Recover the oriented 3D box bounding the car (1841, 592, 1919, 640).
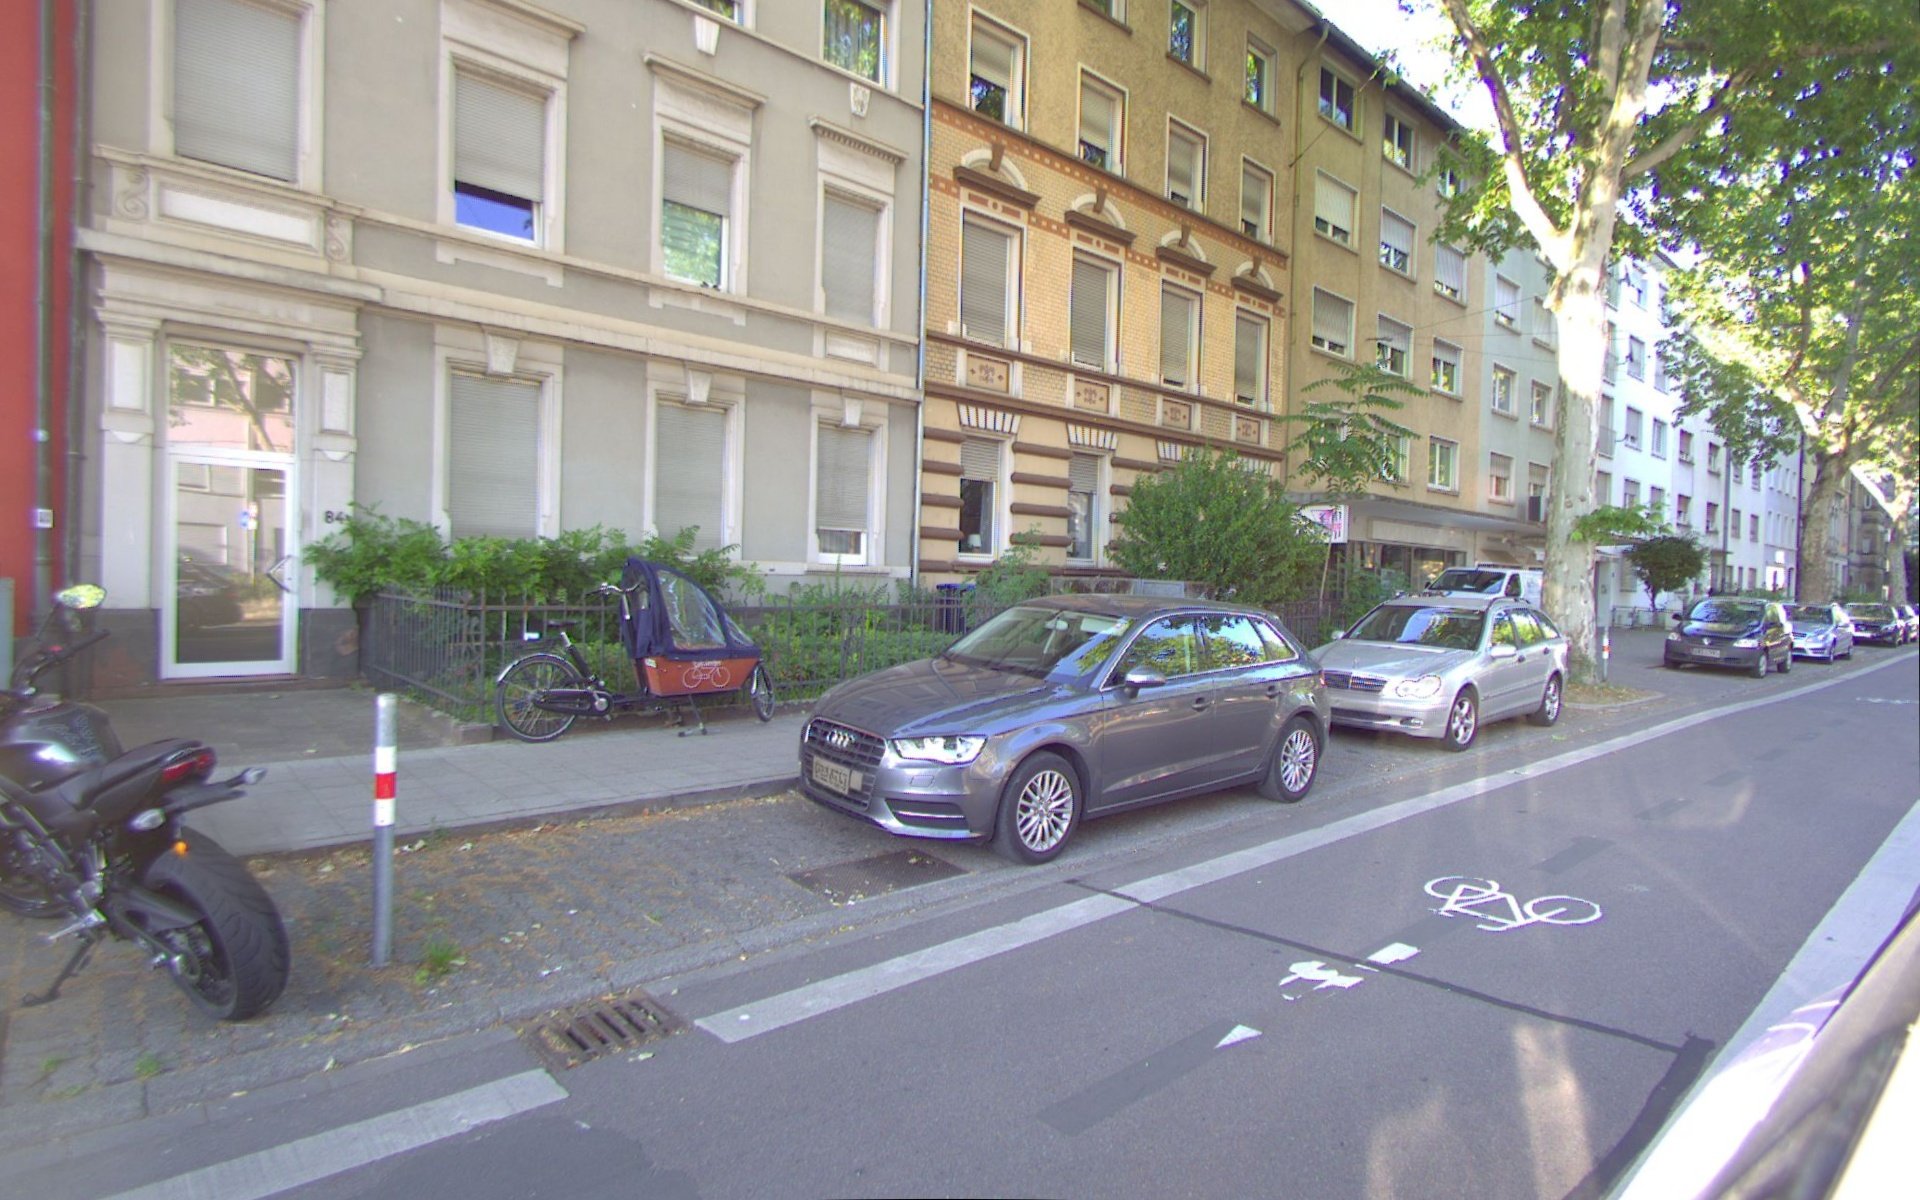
[{"bbox_3d":[31.667,0.515,34.621,4.289,1.432,1.712,0,4,-42],"label":"car"}]

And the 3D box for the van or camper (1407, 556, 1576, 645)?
[{"bbox_3d":[13.179,-0.020,24.927,5.299,1.946,1.945,0,2,-42],"label":"van or camper"}]

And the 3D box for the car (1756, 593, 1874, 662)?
[{"bbox_3d":[21.999,0.633,25.969,4.695,1.561,1.697,0,2,-42],"label":"car"}]

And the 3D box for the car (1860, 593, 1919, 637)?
[{"bbox_3d":[35.194,0.526,37.890,4.289,1.432,1.712,0,4,-42],"label":"car"}]

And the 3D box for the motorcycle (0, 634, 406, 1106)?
[{"bbox_3d":[-3.022,0.761,3.584,2.193,1.076,0.760,4,2,28],"label":"motorcycle"}]

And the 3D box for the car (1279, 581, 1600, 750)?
[{"bbox_3d":[5.462,0.568,11.219,4.494,1.469,1.676,0,2,-43],"label":"car"}]

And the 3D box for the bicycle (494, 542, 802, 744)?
[{"bbox_3d":[-2.460,0.299,8.245,2.354,1.445,0.608,0,0,-41],"label":"bicycle"}]

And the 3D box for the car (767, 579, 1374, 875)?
[{"bbox_3d":[0.975,0.610,6.991,4.245,1.414,1.714,0,2,-41],"label":"car"}]

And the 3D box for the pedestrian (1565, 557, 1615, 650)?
[{"bbox_3d":[14.202,0.062,22.819,0.995,2.038,0.683,0,1,-44],"label":"pedestrian"}]

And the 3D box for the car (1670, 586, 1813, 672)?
[{"bbox_3d":[16.246,0.531,20.975,3.932,1.564,1.656,0,2,-42],"label":"car"}]
